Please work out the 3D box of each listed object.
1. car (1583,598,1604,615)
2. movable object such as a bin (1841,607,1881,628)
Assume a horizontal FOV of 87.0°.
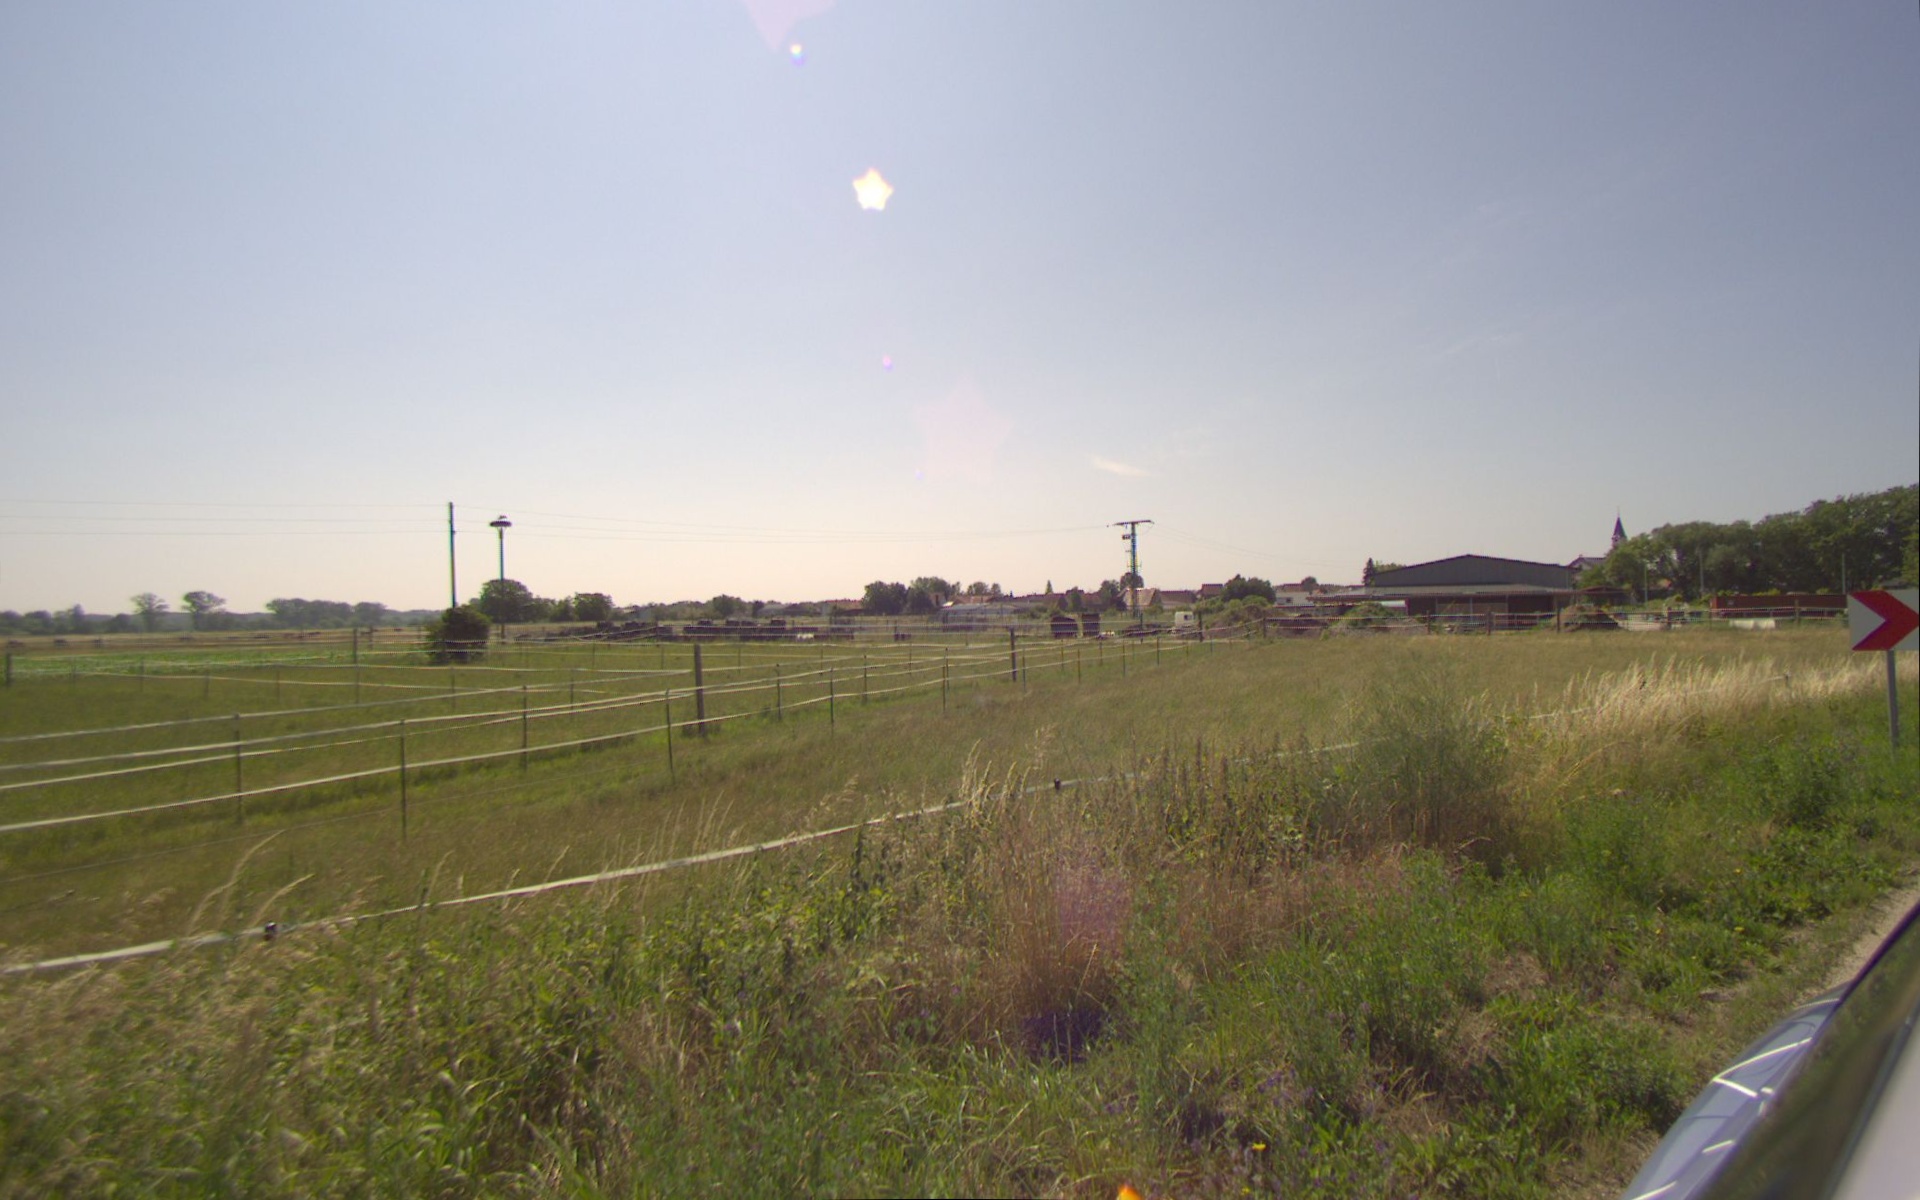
[{"bbox_3d":[80.755,0.840,129.006,1.982,2.040,3.958,-4,-3,29],"label":"car"},{"bbox_3d":[60.015,1.164,67.434,1.497,1.367,1.364,-2,-1,19],"label":"movable object such as a bin"}]
